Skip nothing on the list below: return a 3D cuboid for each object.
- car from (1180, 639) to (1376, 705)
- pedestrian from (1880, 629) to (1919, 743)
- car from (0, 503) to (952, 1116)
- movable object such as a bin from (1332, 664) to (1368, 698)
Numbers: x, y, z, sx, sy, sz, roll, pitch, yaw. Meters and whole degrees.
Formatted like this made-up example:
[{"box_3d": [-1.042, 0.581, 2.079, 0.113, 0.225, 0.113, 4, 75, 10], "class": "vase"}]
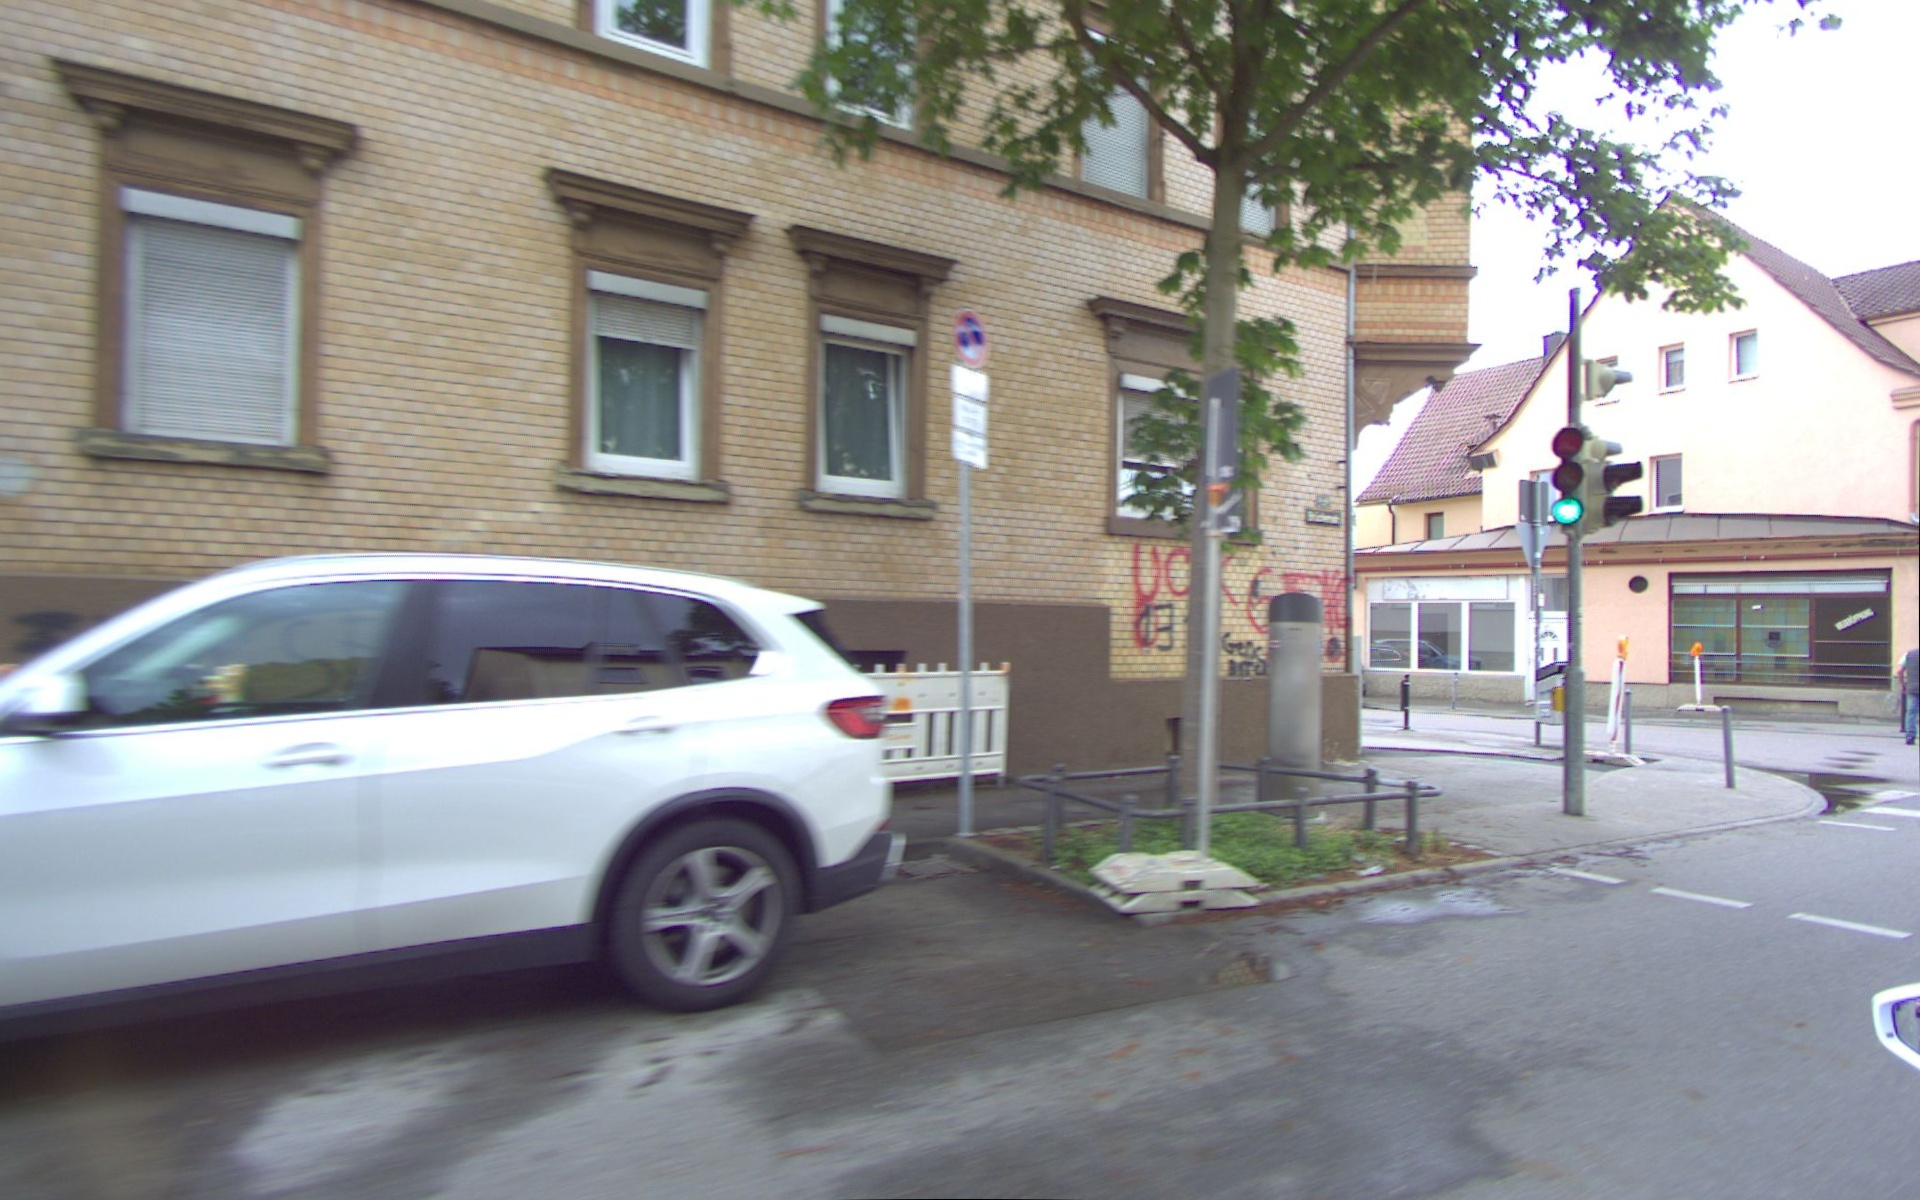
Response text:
[{"box_3d": [7.937, 1.759, 25.216, 4.319, 1.462, 1.904, -1, -3, 38], "class": "car"}, {"box_3d": [15.436, 1.378, 16.124, 0.972, 1.777, 0.735, 2, -1, -32], "class": "pedestrian"}, {"box_3d": [-2.520, 0.661, 4.072, 4.685, 1.734, 1.883, 2, -4, -30], "class": "car"}, {"box_3d": [10.501, 2.183, 27.076, 0.562, 0.890, 0.723, 2, -3, -29], "class": "movable object such as a bin"}]
